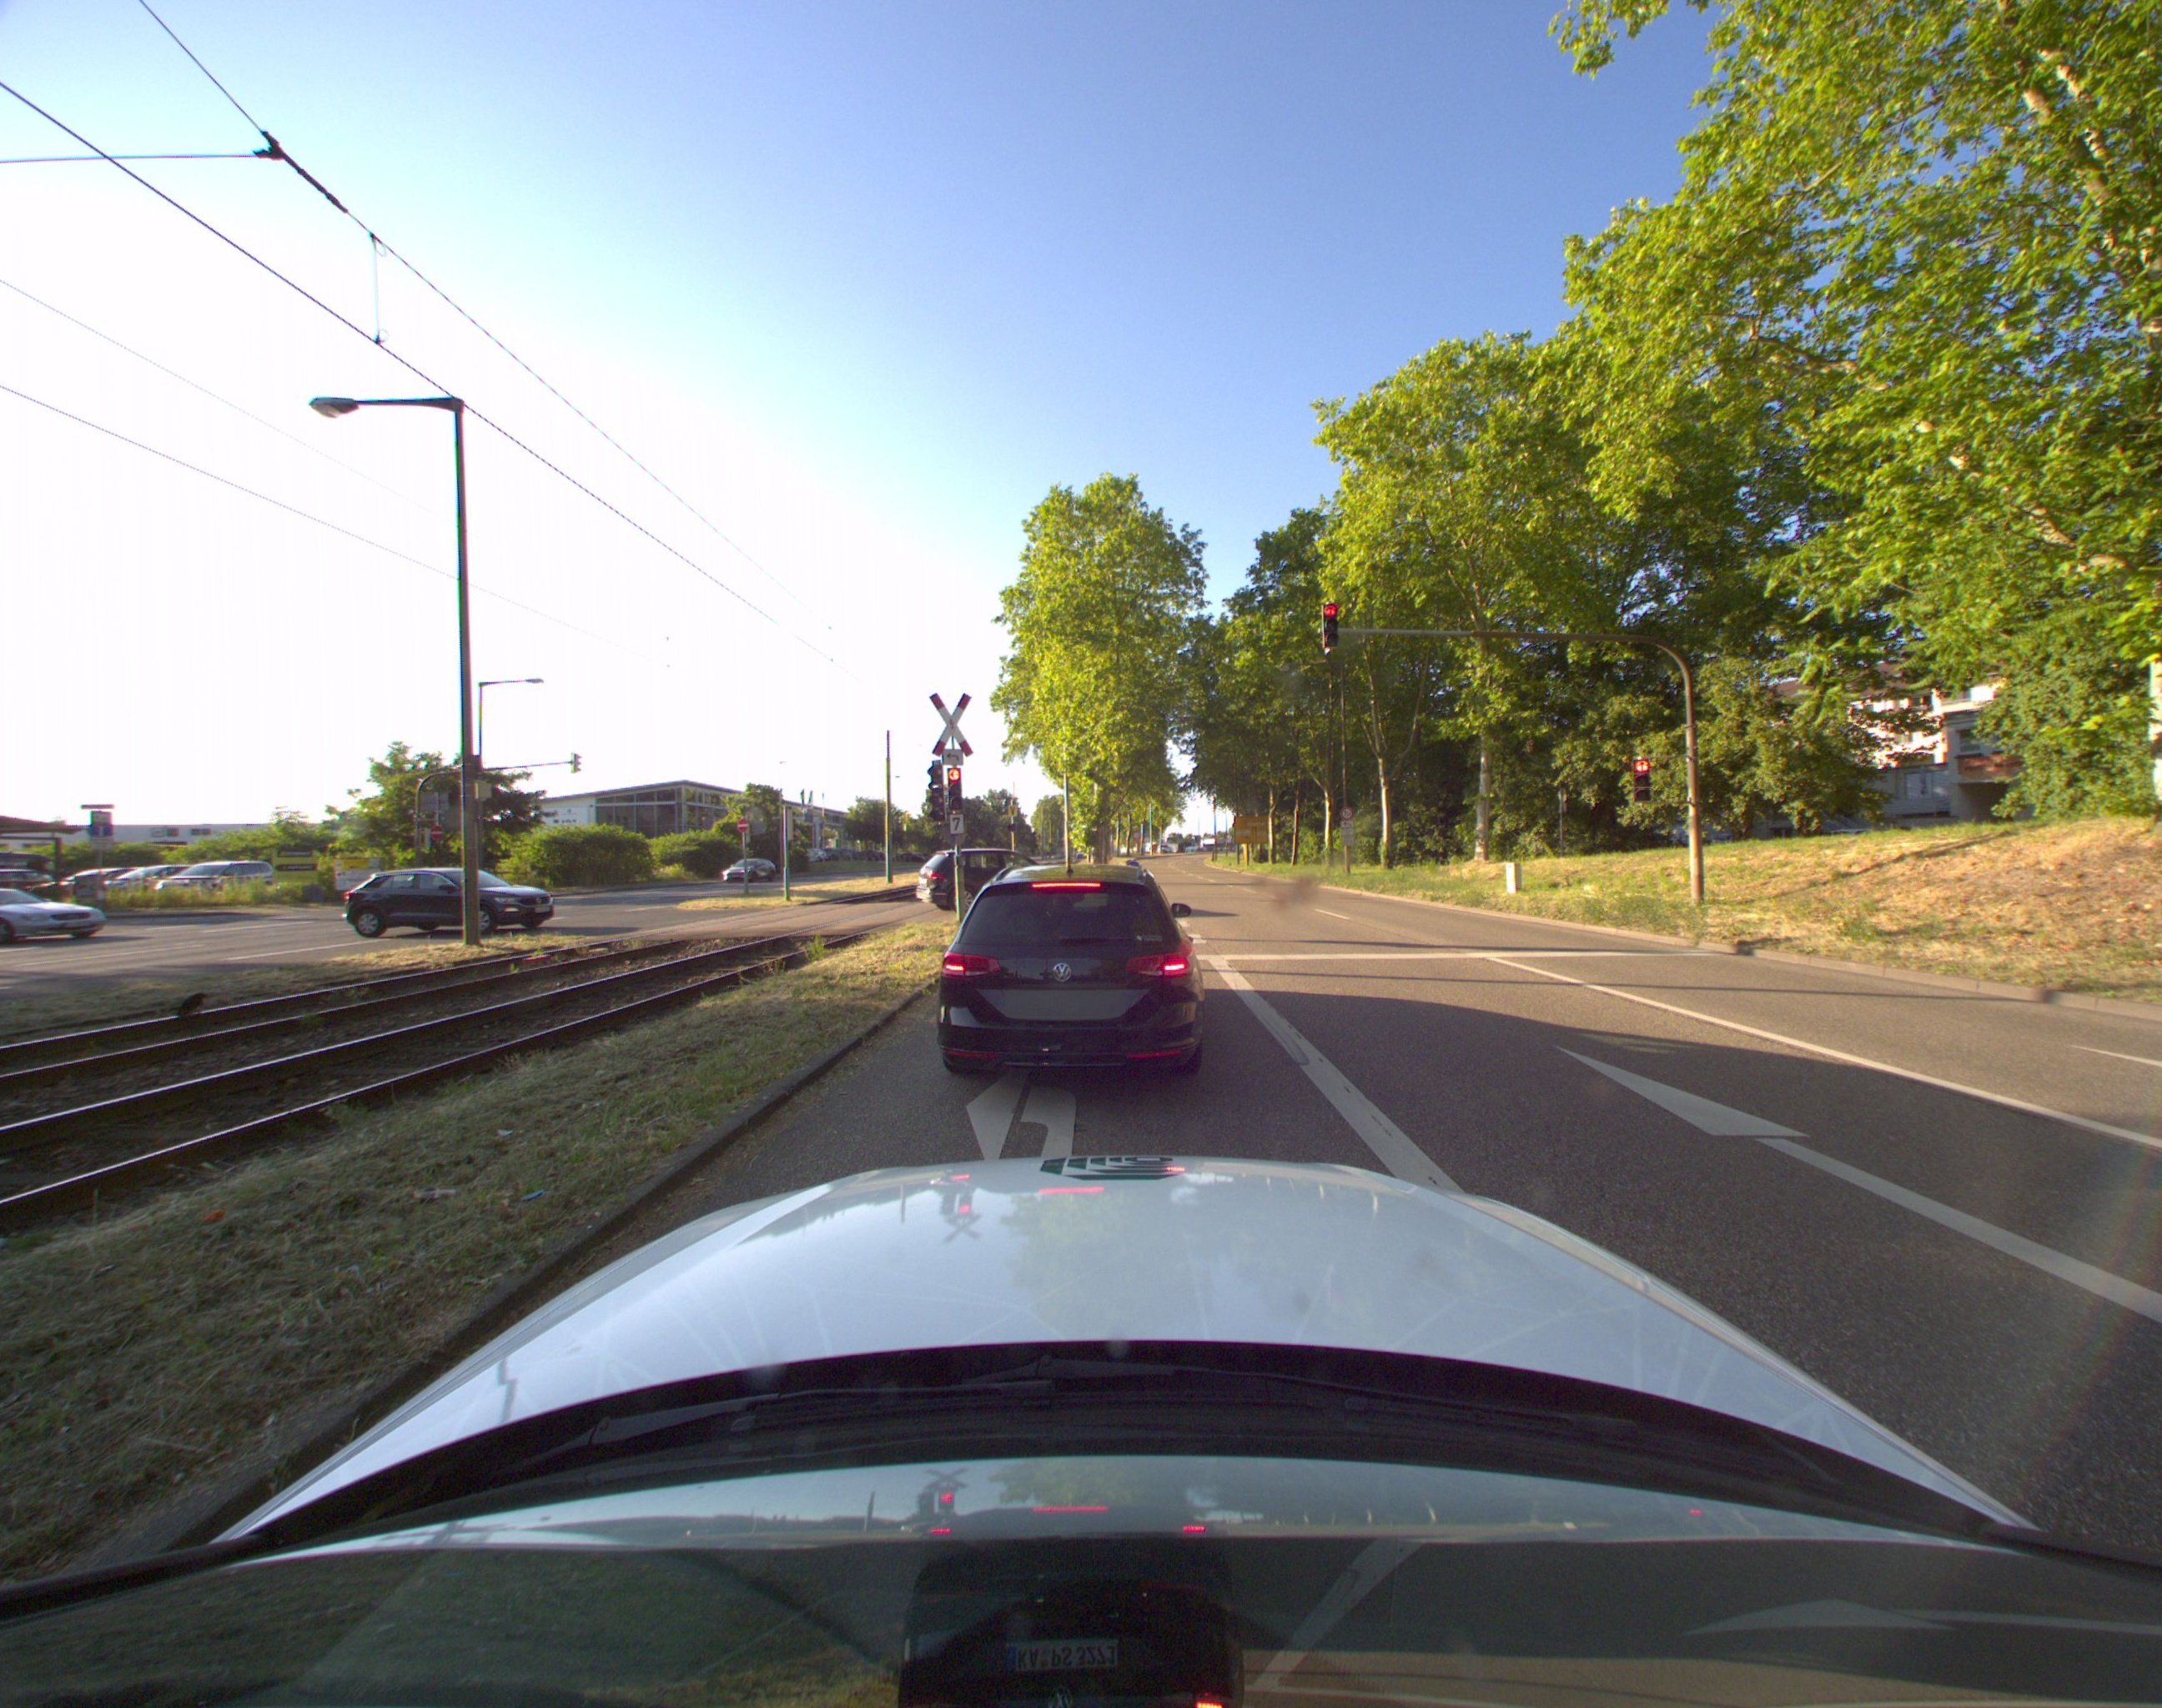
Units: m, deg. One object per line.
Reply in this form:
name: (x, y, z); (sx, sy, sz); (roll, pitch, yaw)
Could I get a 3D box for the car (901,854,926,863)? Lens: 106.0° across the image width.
car: (-28.767, 0.758, 139.686); (3.978, 1.621, 1.742); (-1, 0, -3)

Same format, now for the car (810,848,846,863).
car: (-29.262, 0.137, 94.130); (3.999, 1.704, 1.732); (-1, 0, -19)

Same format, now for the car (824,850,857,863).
car: (-31.367, 0.335, 106.224); (3.999, 1.556, 1.732); (-1, 0, -19)

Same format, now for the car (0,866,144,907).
car: (-44.709, 1.391, 35.907); (1.855, 1.583, 4.174); (0, 0, 2)

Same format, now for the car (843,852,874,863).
car: (-31.439, 0.465, 115.329); (3.983, 1.556, 1.739); (-1, 0, -7)

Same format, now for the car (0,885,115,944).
car: (-26.427, 1.501, 19.776); (3.956, 1.294, 1.614); (-2, 0, 0)

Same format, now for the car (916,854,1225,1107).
car: (-0.016, 0.739, 6.539); (1.788, 1.464, 3.584); (0, 0, 1)

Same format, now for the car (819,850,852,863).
car: (-31.152, 0.291, 103.433); (3.999, 1.556, 1.732); (-1, 0, -19)

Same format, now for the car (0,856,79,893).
car: (-60.421, 1.136, 45.919); (1.855, 2.014, 4.773); (0, 0, 2)

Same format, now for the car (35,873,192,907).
car: (-42.470, 1.551, 35.904); (1.855, 1.267, 4.174); (0, 0, 2)

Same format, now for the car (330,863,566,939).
car: (-14.842, 1.067, 19.254); (4.139, 1.561, 1.712); (-2, 0, -1)

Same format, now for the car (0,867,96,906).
car: (-47.159, 1.439, 36.059); (1.970, 1.583, 4.174); (0, 0, 2)

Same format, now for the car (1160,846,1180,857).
car: (19.217, -0.552, 176.109); (2.075, 2.461, 5.888); (0, 0, 29)

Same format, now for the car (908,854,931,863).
car: (-29.107, 0.857, 146.855); (3.978, 1.621, 1.742); (-1, 0, -3)

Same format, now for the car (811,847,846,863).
car: (-30.603, 0.119, 98.753); (3.999, 1.816, 1.732); (-1, 0, -19)

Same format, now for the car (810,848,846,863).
car: (-29.951, 0.154, 96.399); (3.999, 1.704, 1.732); (-1, 0, -19)

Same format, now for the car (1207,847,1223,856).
car: (33.193, -0.649, 201.015); (2.075, 2.065, 4.911); (0, 0, 33)

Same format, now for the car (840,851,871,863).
car: (-31.230, 0.427, 112.622); (3.999, 1.556, 1.732); (-1, 0, -19)

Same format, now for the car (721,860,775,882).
car: (-23.218, 1.160, 56.961); (1.854, 1.481, 4.176); (0, 0, 3)

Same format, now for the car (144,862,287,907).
car: (-38.522, 1.311, 36.426); (1.855, 1.821, 4.174); (0, 0, 2)

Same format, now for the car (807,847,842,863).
car: (-31.646, 0.120, 100.534); (3.999, 1.816, 1.732); (-1, 0, -19)

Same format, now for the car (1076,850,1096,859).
car: (0.827, 0.075, 139.325); (1.845, 1.481, 4.115); (0, 0, 24)

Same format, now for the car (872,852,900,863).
car: (-30.121, 0.580, 125.963); (3.978, 1.621, 1.742); (-1, 0, -3)

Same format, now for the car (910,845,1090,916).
car: (-2.154, 0.632, 21.581); (4.375, 1.635, 1.864); (-2, 0, -23)

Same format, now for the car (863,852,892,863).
car: (-30.609, 0.536, 122.761); (3.978, 1.621, 1.742); (-1, 0, -3)
